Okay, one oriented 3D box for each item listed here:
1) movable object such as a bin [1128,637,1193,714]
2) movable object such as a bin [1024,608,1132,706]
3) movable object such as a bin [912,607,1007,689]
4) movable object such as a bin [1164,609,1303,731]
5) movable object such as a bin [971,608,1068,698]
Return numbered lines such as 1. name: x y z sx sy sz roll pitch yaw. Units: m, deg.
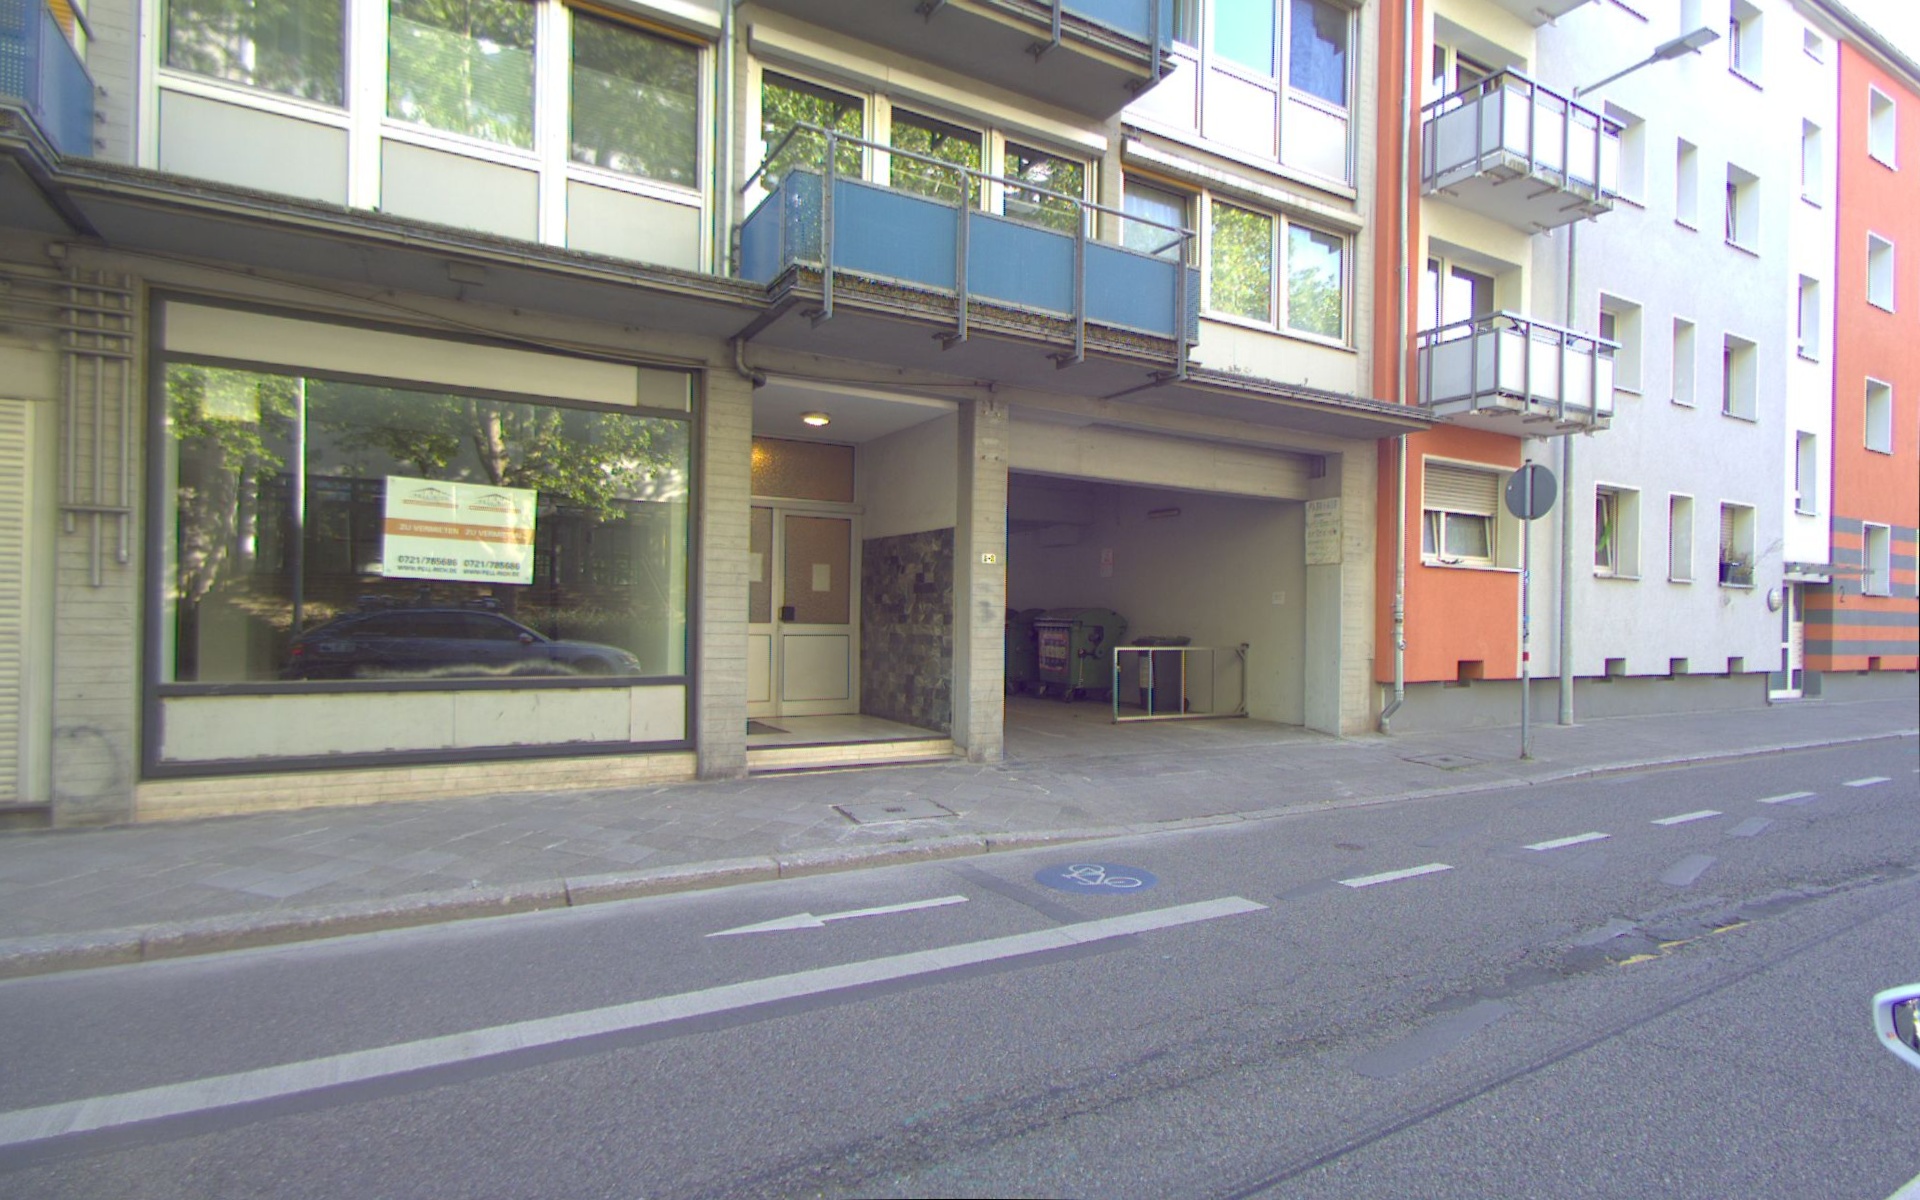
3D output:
1. movable object such as a bin: 2.901 1.080 14.540 0.695 1.055 0.593 2 0 -30
2. movable object such as a bin: 1.851 0.868 15.859 1.128 1.449 1.342 1 0 -28
3. movable object such as a bin: -0.028 0.872 18.885 1.119 1.449 1.666 1 -1 -28
4. movable object such as a bin: 3.491 0.855 12.910 1.119 1.449 1.322 1 0 -28
5. movable object such as a bin: 1.000 0.874 17.182 1.119 1.449 1.322 1 0 -28
